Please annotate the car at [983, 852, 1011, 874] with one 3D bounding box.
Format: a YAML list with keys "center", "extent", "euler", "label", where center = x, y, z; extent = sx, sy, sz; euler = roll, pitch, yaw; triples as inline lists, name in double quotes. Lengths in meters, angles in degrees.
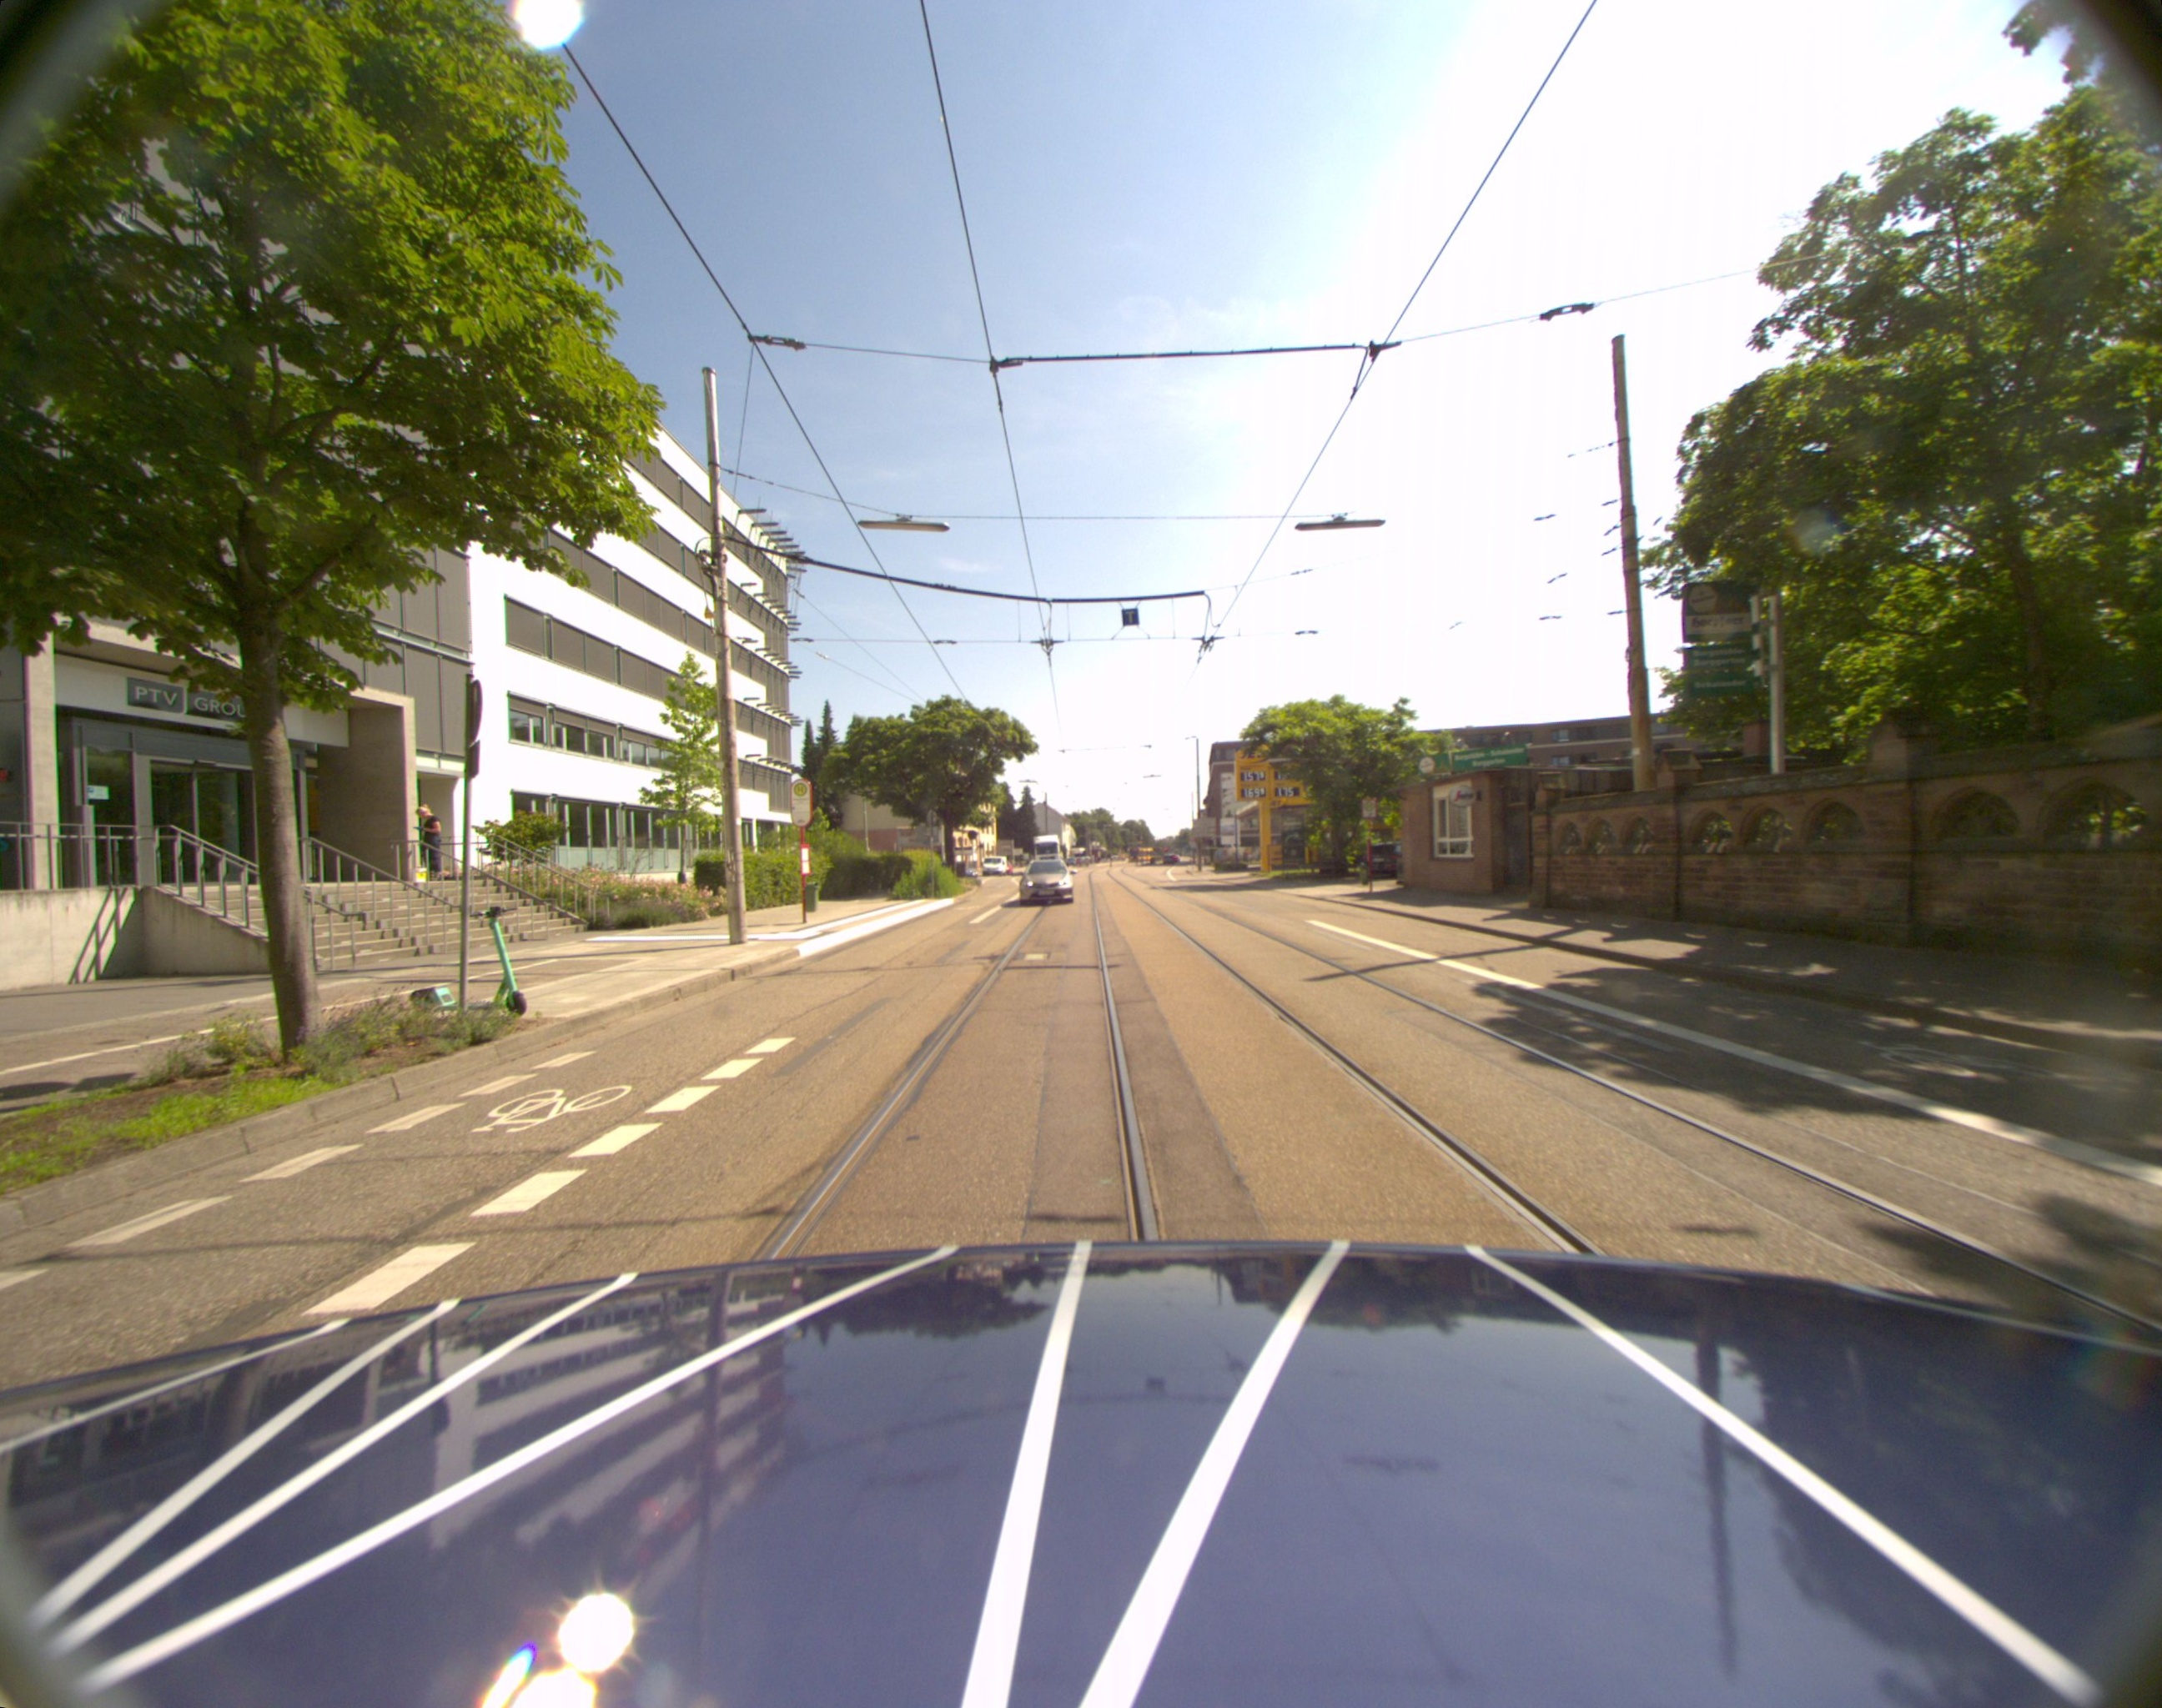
- center: [-8.093, 0.847, 73.299]
  extent: [1.981, 2.043, 5.191]
  euler: [0, 1, 2]
  label: "car"

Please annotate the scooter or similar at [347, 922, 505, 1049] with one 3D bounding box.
- center: [-6.424, 1.281, 7.475]
  extent: [1.145, 1.147, 0.493]
  euler: [-2, 1, 7]
  label: "scooter or similar"

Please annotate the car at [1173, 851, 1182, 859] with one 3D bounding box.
- center: [20.563, 0.249, 161.649]
  extent: [1.715, 1.613, 3.581]
  euler: [-3, 0, 8]
  label: "car"

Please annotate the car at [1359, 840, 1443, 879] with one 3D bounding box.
- center: [14.873, 0.242, 35.199]
  extent: [4.587, 1.615, 1.944]
  euler: [-2, 0, -45]
  label: "car"

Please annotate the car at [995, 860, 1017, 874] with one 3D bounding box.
- center: [-7.838, 1.324, 79.899]
  extent: [1.726, 1.435, 4.312]
  euler: [0, 0, 1]
  label: "car"

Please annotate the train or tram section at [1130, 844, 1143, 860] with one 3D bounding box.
- center: [13.425, -0.461, 182.943]
  extent: [2.685, 3.460, 13.343]
  euler: [-2, 0, 5]
  label: "train or tram section"

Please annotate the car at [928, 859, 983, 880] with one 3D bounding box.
- center: [-9.341, 1.133, 56.893]
  extent: [3.754, 1.380, 1.671]
  euler: [-2, 0, 1]
  label: "car"

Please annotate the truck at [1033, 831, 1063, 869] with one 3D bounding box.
- center: [-3.359, -0.391, 79.874]
  extent: [2.657, 3.772, 7.863]
  euler: [-2, 0, 0]
  label: "truck"

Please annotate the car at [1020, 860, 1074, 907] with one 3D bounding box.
- center: [-1.112, 0.933, 26.064]
  extent: [1.695, 1.440, 4.480]
  euler: [0, 0, -1]
  label: "car"

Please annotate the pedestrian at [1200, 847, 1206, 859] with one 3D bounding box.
- center: [18.278, -0.162, 113.996]
  extent: [0.846, 1.808, 0.839]
  euler: [-2, 0, 8]
  label: "pedestrian"

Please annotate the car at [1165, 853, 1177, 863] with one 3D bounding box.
- center: [14.419, 0.625, 122.338]
  extent: [1.750, 1.562, 3.892]
  euler: [-1, 1, 5]
  label: "car"

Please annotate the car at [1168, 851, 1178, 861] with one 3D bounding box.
- center: [18.057, 0.433, 148.563]
  extent: [1.804, 1.718, 4.192]
  euler: [-3, -1, 9]
  label: "car"

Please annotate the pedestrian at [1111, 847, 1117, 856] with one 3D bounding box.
- center: [6.705, -0.490, 155.182]
  extent: [0.982, 1.847, 1.238]
  euler: [-2, 0, 8]
  label: "pedestrian"

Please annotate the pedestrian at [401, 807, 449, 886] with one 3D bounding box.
- center: [-14.623, -0.173, 16.948]
  extent: [0.500, 1.718, 0.547]
  euler: [-2, 1, 0]
  label: "pedestrian"

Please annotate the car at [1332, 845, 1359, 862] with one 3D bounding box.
- center: [23.211, -0.069, 66.486]
  extent: [1.698, 1.295, 4.397]
  euler: [-4, 0, 25]
  label: "car"

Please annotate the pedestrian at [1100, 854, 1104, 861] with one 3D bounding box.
- center: [3.777, 0.714, 138.928]
  extent: [0.630, 1.247, 0.710]
  euler: [-1, 0, 7]
  label: "pedestrian"
